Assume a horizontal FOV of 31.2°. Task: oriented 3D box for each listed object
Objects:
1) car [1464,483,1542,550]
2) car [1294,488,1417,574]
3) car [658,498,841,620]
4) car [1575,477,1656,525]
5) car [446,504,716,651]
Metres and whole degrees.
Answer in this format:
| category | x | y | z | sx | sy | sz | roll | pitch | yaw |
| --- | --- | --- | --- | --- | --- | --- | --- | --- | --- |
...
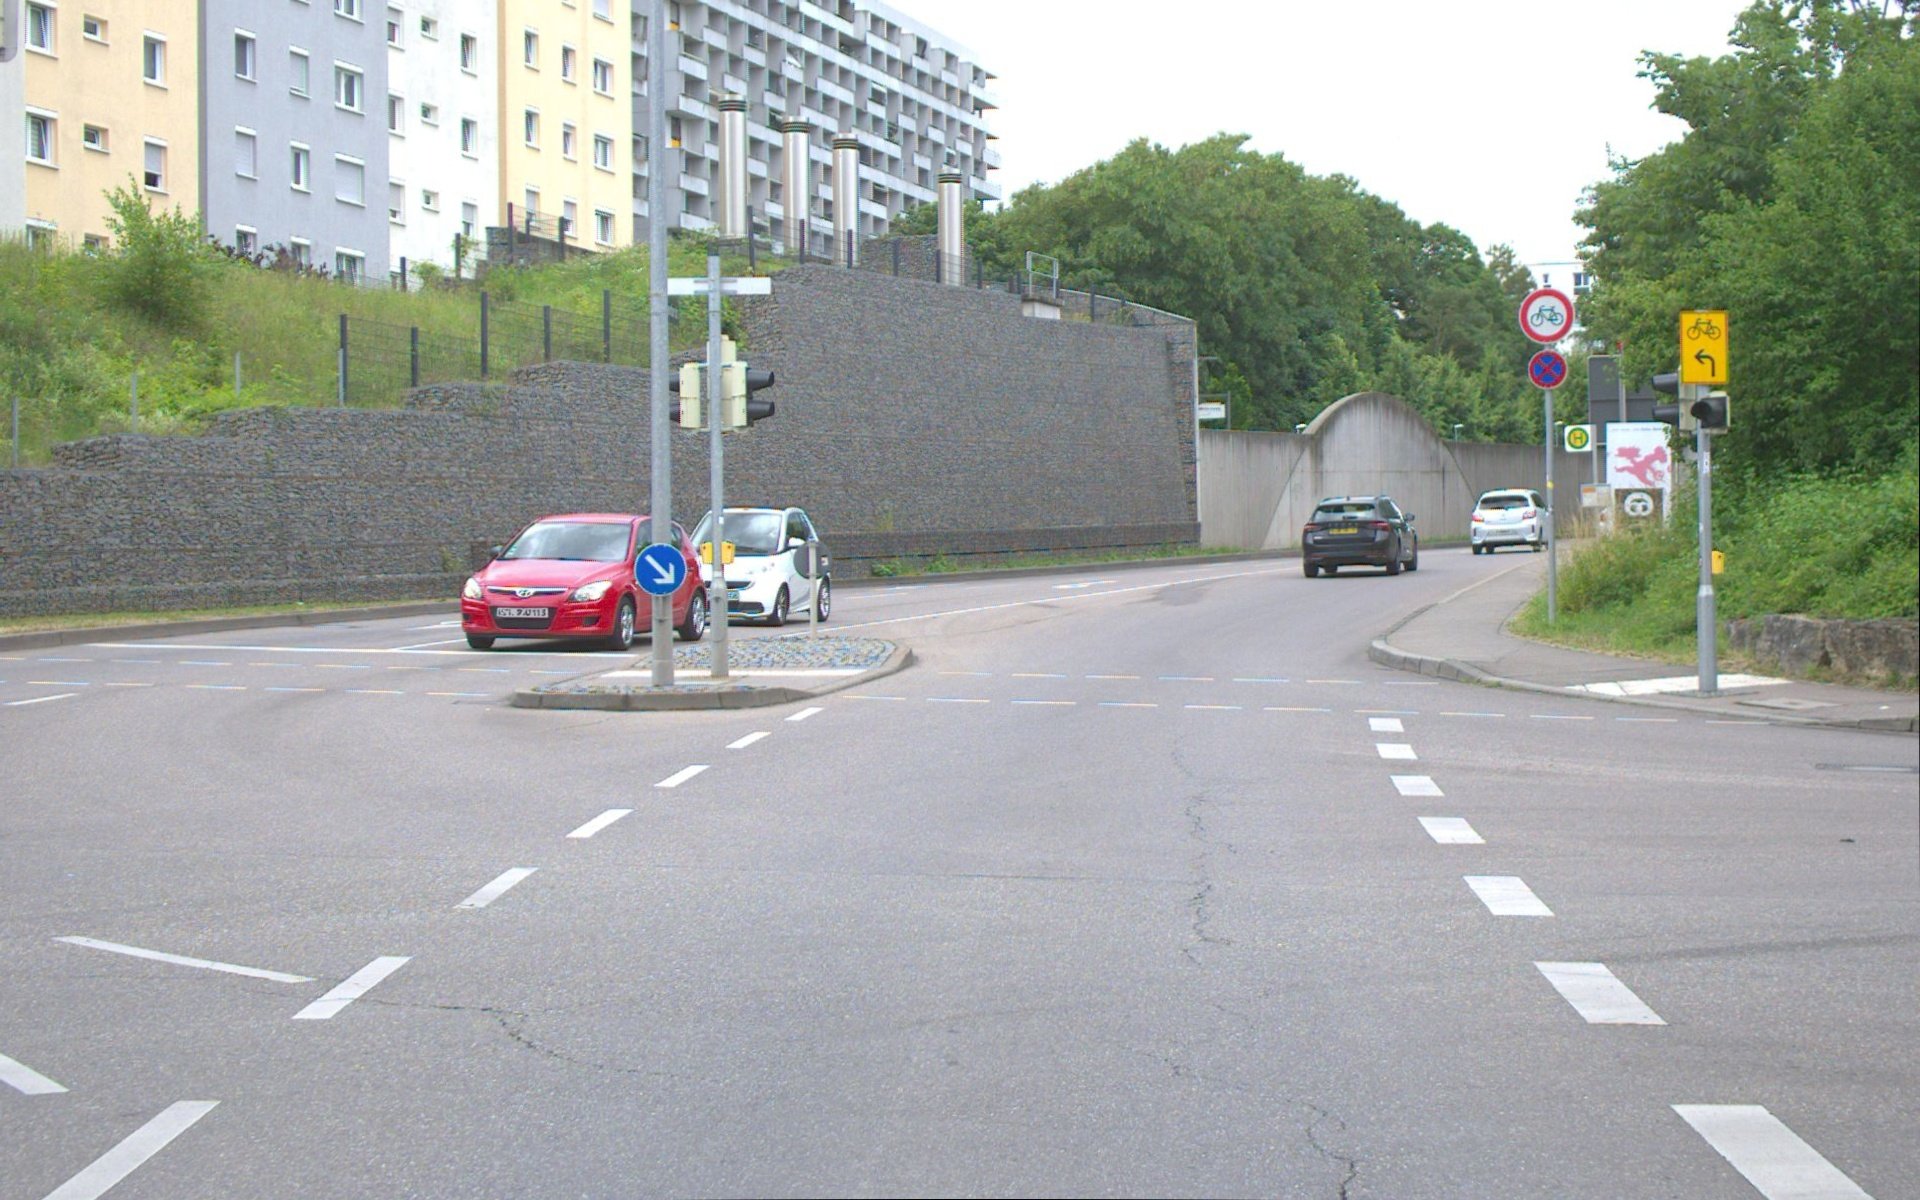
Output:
| category | x | y | z | sx | sy | sz | roll | pitch | yaw |
| --- | --- | --- | --- | --- | --- | --- | --- | --- | --- |
| car | 12.947 | -1.966 | 81.901 | 1.755 | 1.518 | 4.035 | 1 | 1 | 10 |
| car | 7.432 | -1.266 | 64.332 | 1.755 | 1.518 | 4.034 | 1 | 1 | 14 |
| car | -2.716 | -0.532 | 44.808 | 1.544 | 1.518 | 2.912 | 1 | 1 | 14 |
| car | 20.898 | -3.156 | 109.573 | 1.868 | 1.485 | 4.253 | 1 | 2 | 20 |
| car | -4.139 | -0.258 | 38.195 | 1.755 | 1.518 | 4.090 | 1 | 1 | 12 |
